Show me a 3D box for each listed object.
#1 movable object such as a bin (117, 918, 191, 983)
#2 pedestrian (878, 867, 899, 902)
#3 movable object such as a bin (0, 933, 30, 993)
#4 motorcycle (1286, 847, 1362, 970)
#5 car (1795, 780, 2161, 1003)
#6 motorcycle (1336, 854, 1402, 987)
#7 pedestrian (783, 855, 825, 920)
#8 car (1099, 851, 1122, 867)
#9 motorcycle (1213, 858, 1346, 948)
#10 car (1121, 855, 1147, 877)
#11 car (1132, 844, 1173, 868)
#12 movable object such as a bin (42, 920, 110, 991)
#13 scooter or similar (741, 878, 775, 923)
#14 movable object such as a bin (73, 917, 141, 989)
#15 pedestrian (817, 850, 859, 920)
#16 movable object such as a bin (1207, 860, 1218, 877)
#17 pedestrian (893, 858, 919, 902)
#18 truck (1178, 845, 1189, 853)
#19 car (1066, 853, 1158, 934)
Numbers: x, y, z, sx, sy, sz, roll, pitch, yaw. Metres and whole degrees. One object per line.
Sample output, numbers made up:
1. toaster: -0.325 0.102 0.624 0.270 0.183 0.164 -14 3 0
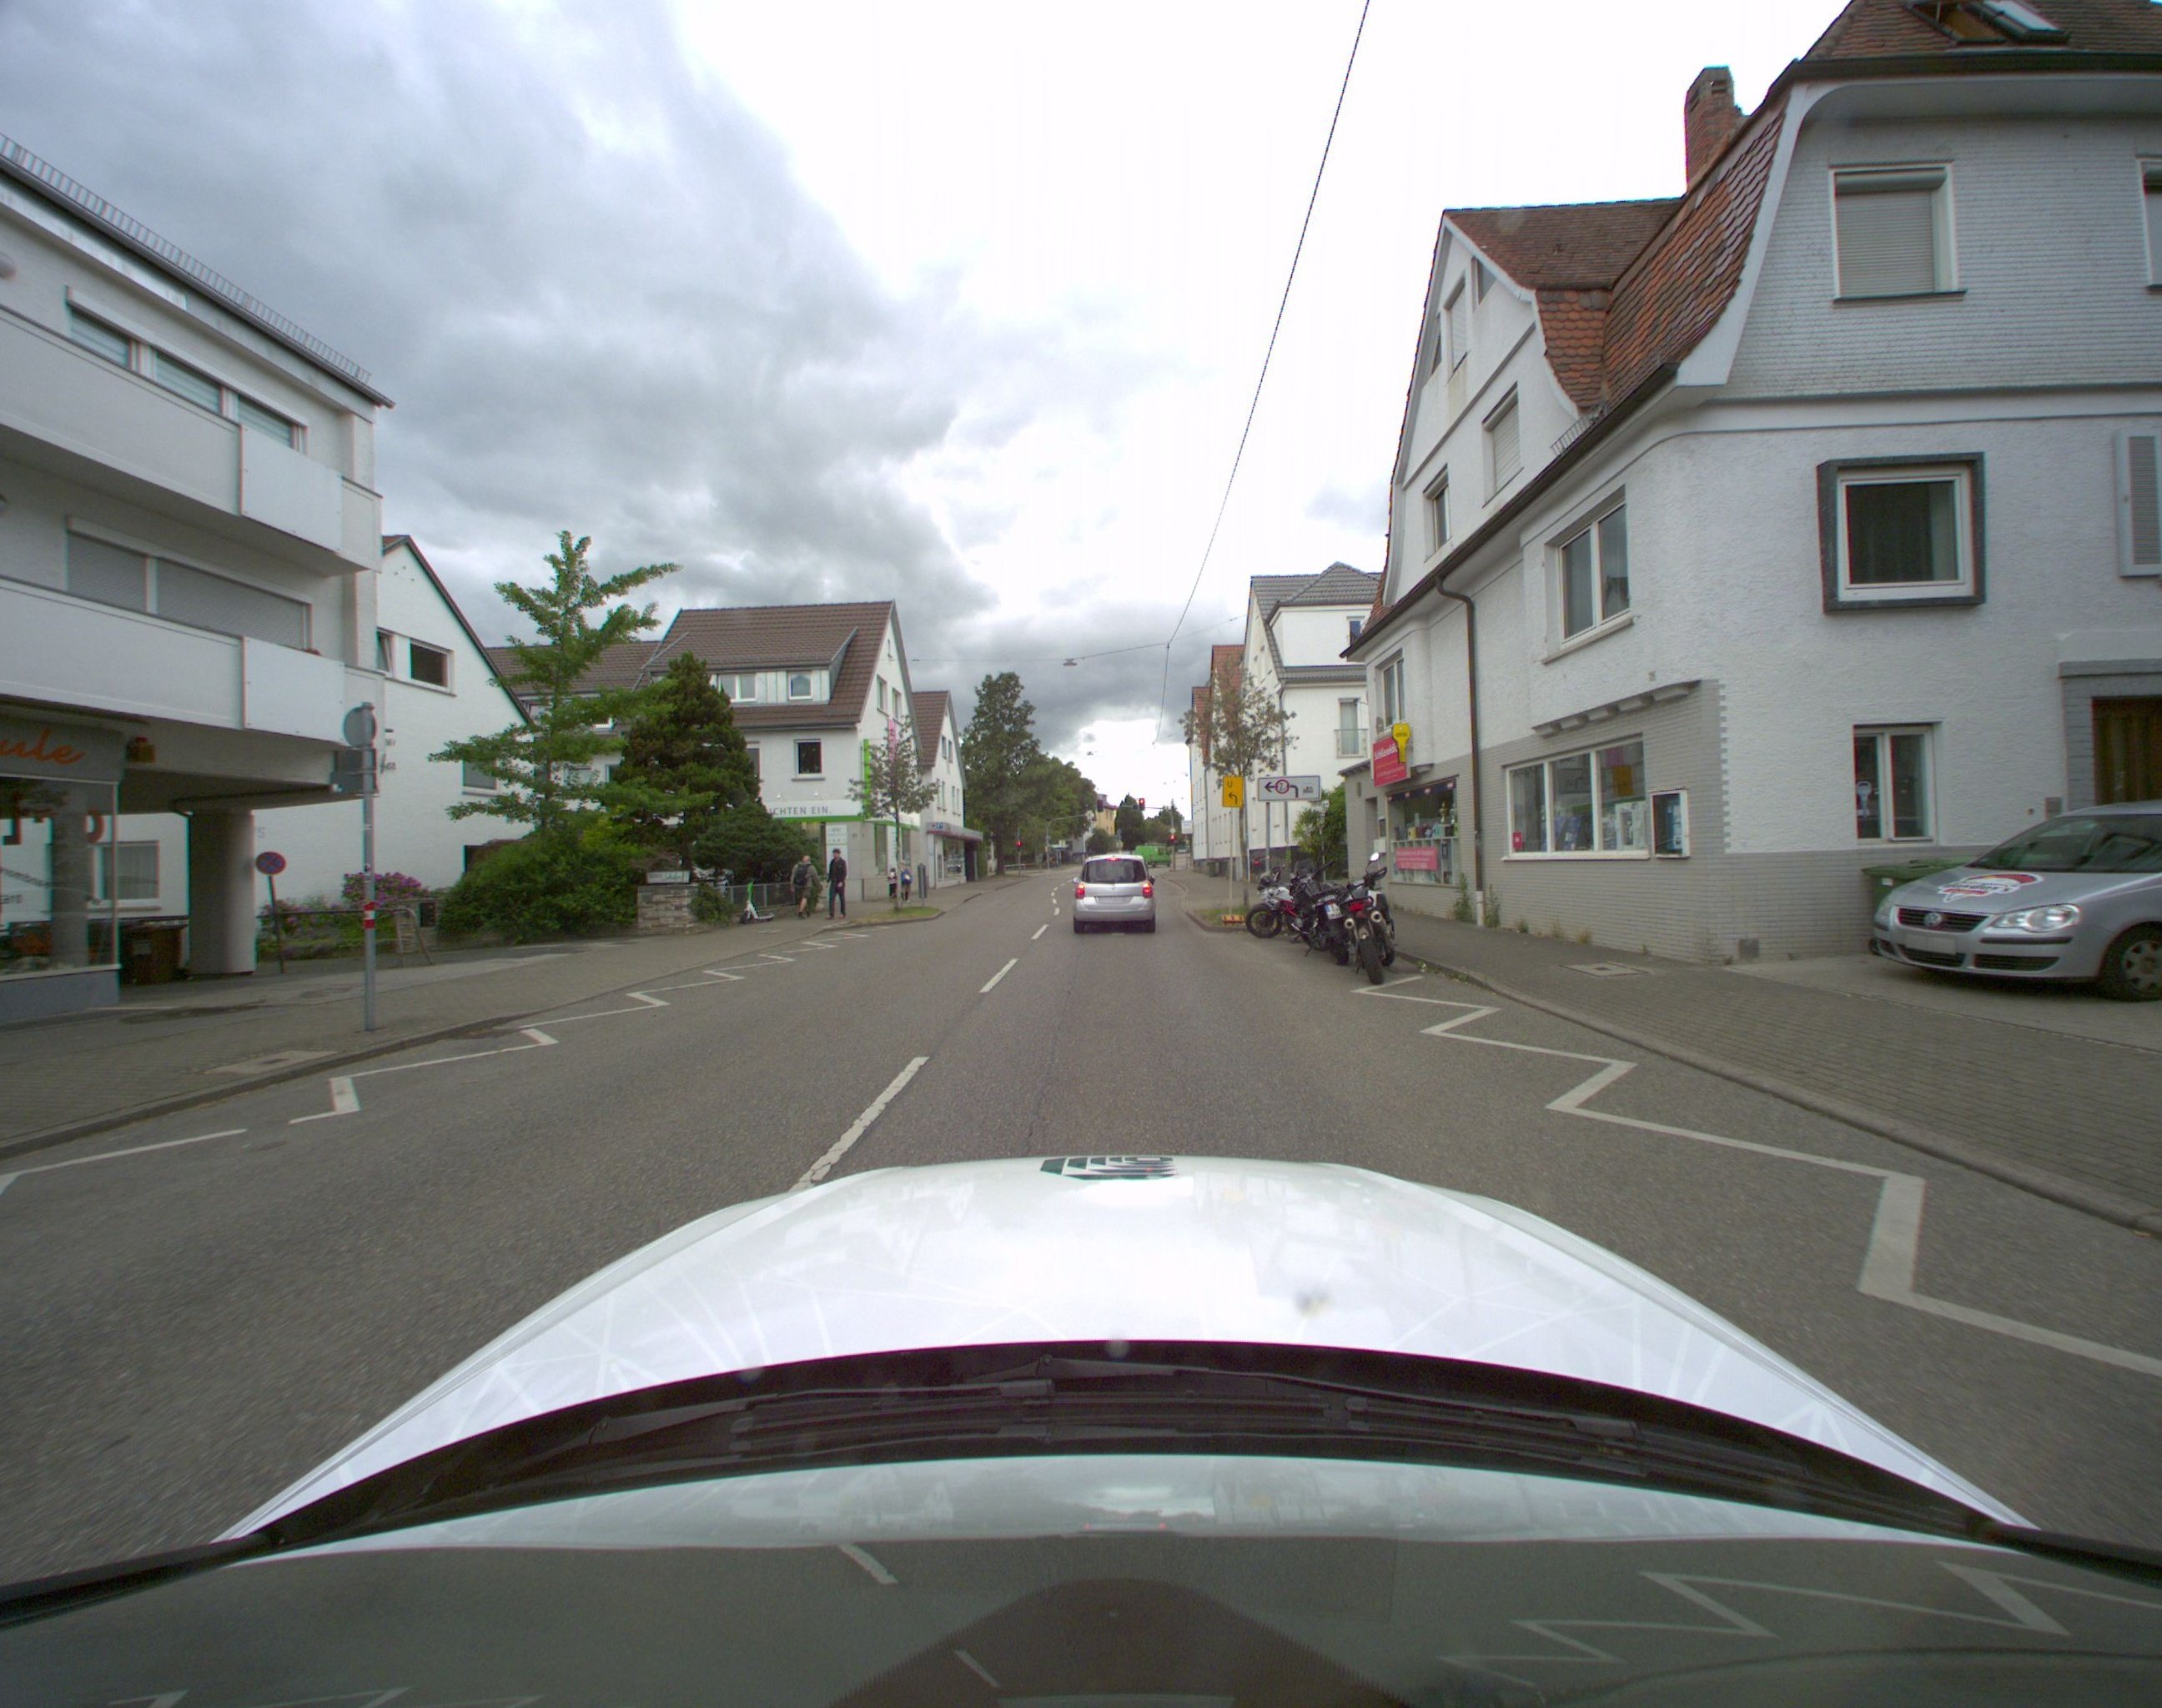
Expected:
1. movable object such as a bin: -14.738 1.528 12.956 0.597 0.933 0.470 -4 -1 2
2. pedestrian: -7.349 1.159 31.096 0.597 1.279 0.655 0 -1 3
3. movable object such as a bin: -17.446 1.765 13.092 0.486 0.912 0.441 -4 -1 2
4. motorcycle: 3.364 0.691 11.473 0.667 1.524 2.604 -1 -1 9
5. car: 9.133 0.176 7.026 4.182 1.588 1.856 -4 -1 2
6. motorcycle: 3.614 0.731 10.116 0.642 1.440 2.482 -2 -1 21
7. pedestrian: -7.644 0.906 22.519 0.748 1.743 1.020 0 -1 3
8. car: 3.653 0.570 99.388 1.912 1.773 4.015 -6 -1 14
9. motorcycle: 3.322 0.788 13.877 0.779 1.381 2.219 -1 -1 -34
10. car: 3.795 0.844 58.399 1.747 1.530 3.800 -1 0 3
11. car: 7.731 0.182 87.152 2.039 2.512 5.630 -2 -1 31
12. movable object such as a bin: -15.965 1.605 12.943 0.486 1.057 0.441 -4 -1 2
13. scooter or similar: -8.355 1.193 21.095 0.338 1.112 1.181 -1 -1 3
14. movable object such as a bin: -15.446 1.557 12.919 0.486 1.057 0.441 -4 -1 2
15. pedestrian: -6.641 0.837 22.341 0.748 1.849 1.020 1 -1 3
16. movable object such as a bin: 7.619 0.824 47.121 0.537 0.941 0.487 -4 -1 3
17. pedestrian: -6.622 0.985 30.834 0.748 1.617 0.793 1 -1 3
18. truck: 26.531 -1.239 210.714 2.087 2.014 5.768 -1 0 13
19. car: 0.718 0.781 17.749 1.747 1.530 4.003 -1 0 3
